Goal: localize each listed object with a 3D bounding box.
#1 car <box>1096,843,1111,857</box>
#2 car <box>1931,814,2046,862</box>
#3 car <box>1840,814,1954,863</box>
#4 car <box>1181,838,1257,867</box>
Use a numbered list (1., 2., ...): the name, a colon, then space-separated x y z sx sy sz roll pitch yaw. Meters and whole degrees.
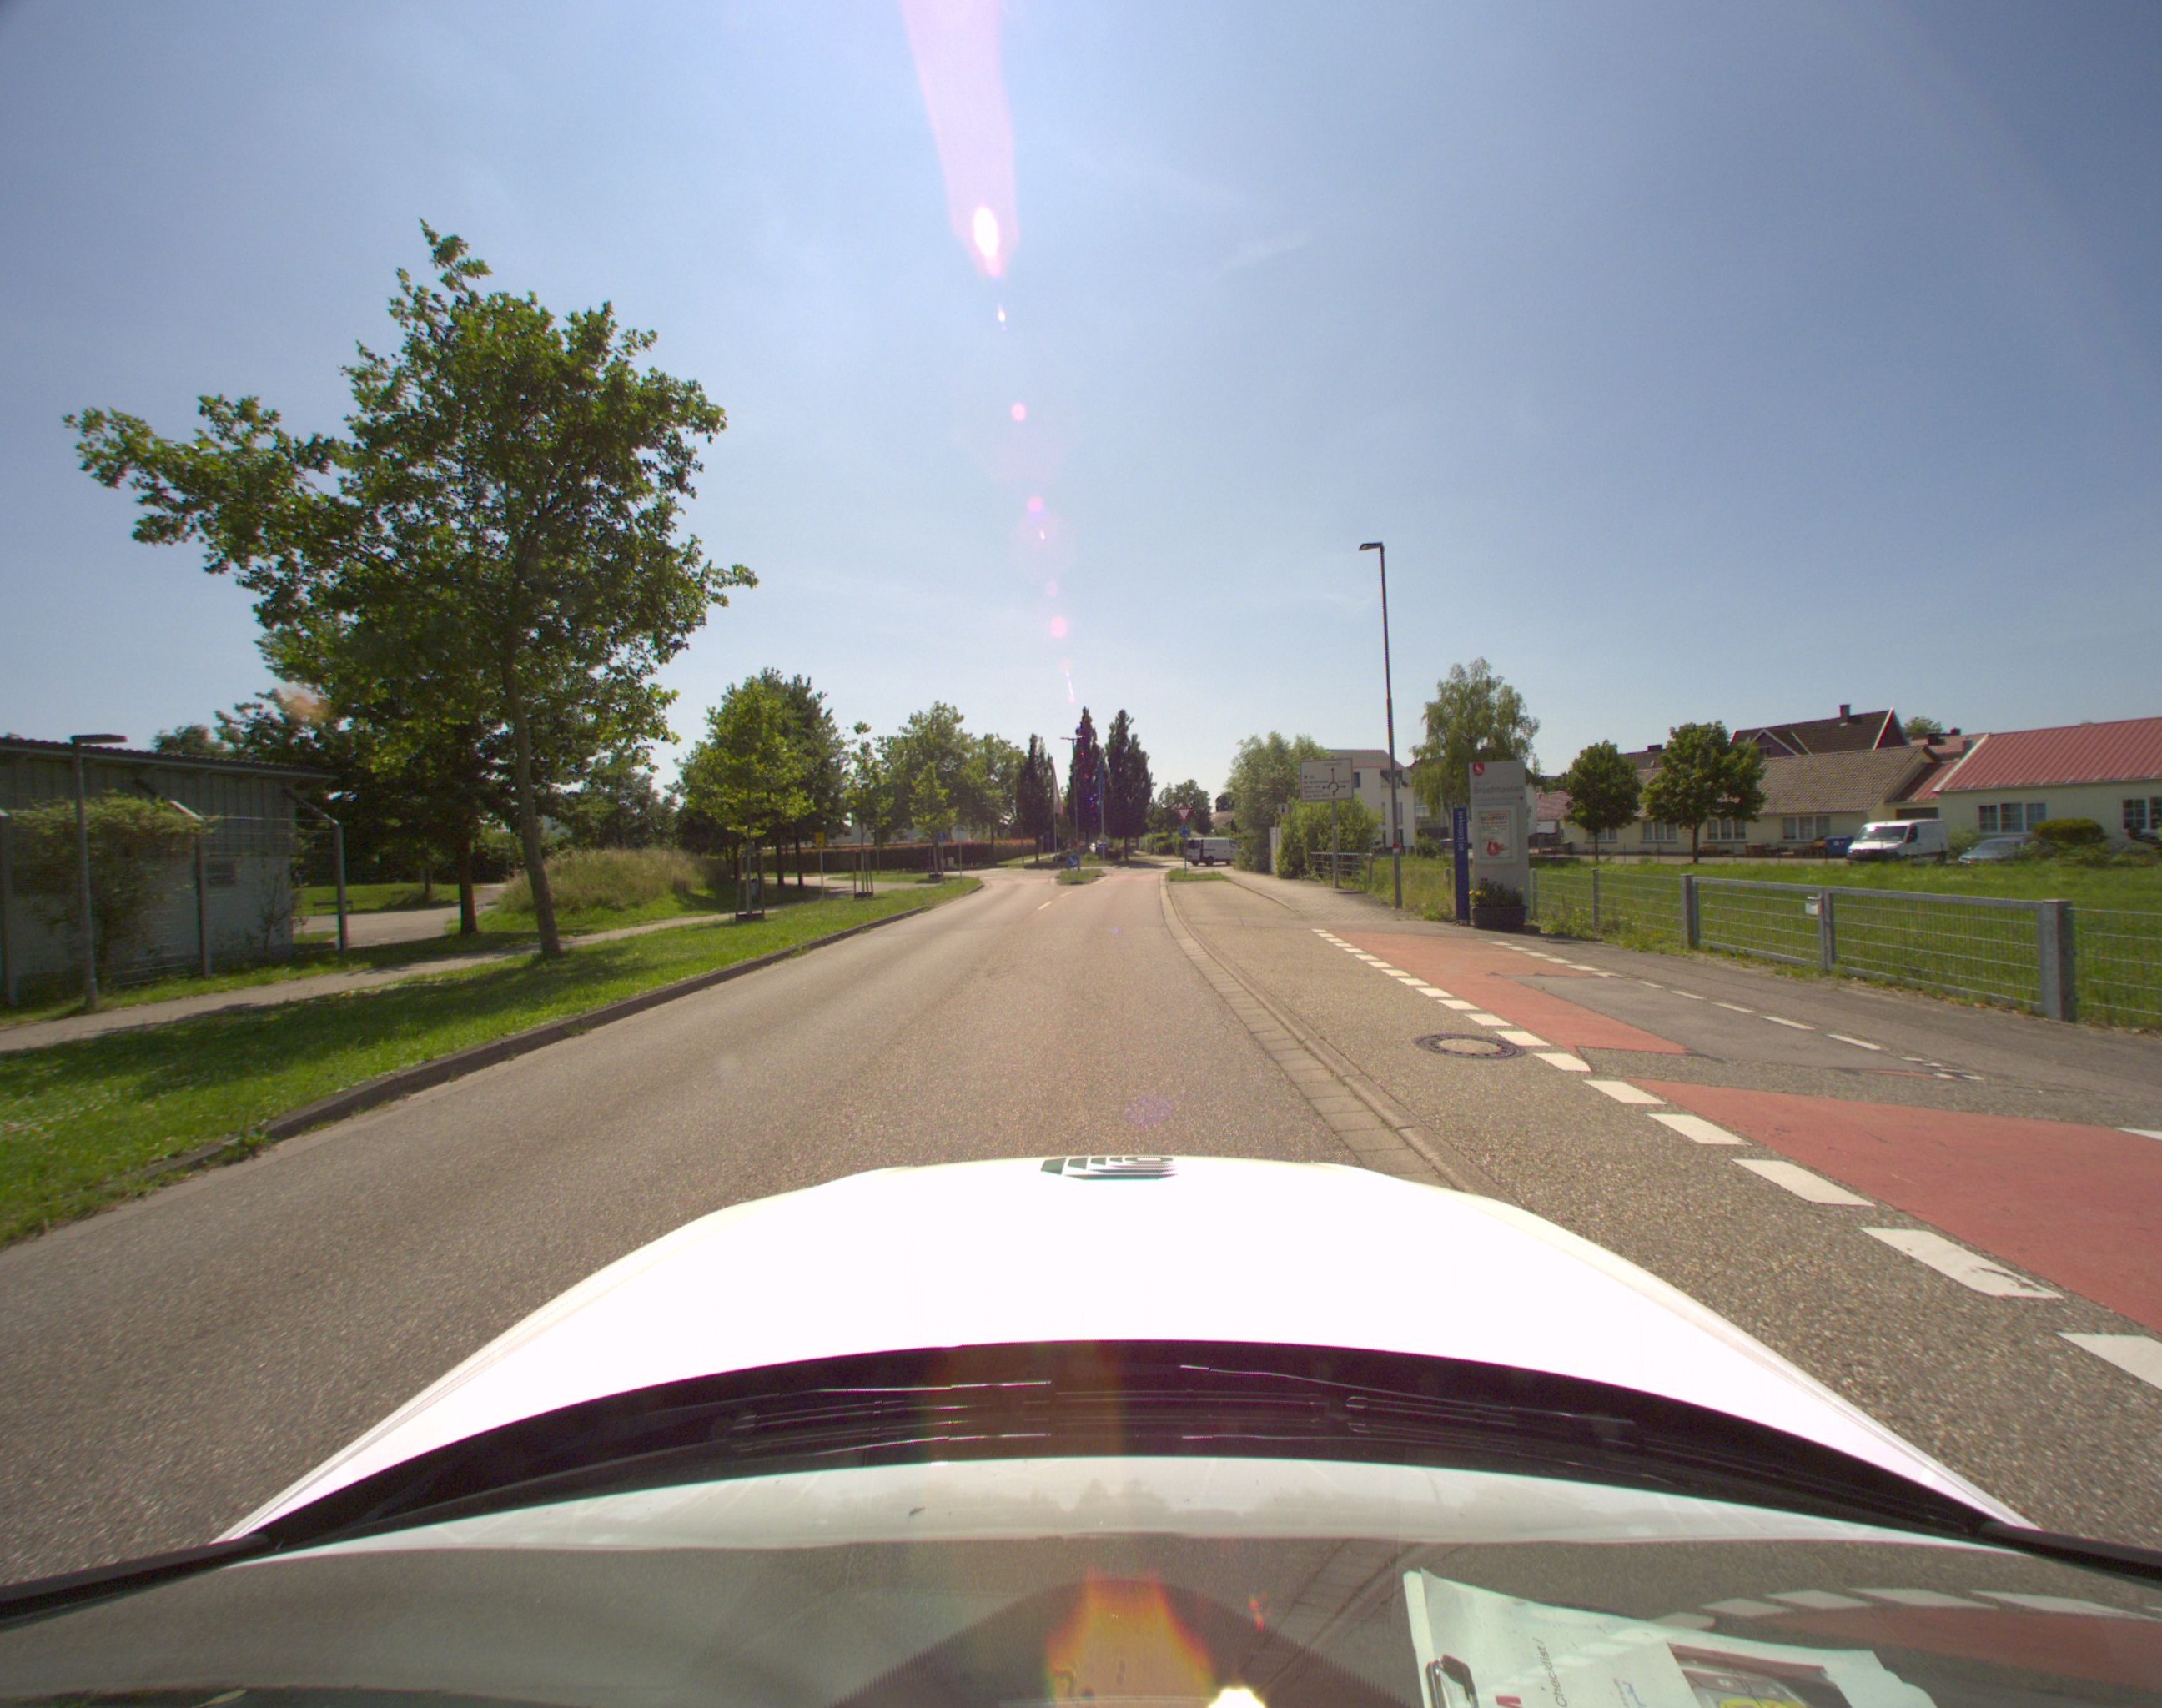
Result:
1. car: 2.934 -0.540 107.713 1.916 1.886 4.001 -1 0 1
2. car: 40.340 -0.688 36.185 4.940 2.013 2.053 -1 0 -25
3. car: 39.032 -0.749 38.931 5.192 2.201 2.198 -1 0 -25
4. car: 9.986 -0.112 58.845 5.159 2.013 2.116 -1 0 -26
